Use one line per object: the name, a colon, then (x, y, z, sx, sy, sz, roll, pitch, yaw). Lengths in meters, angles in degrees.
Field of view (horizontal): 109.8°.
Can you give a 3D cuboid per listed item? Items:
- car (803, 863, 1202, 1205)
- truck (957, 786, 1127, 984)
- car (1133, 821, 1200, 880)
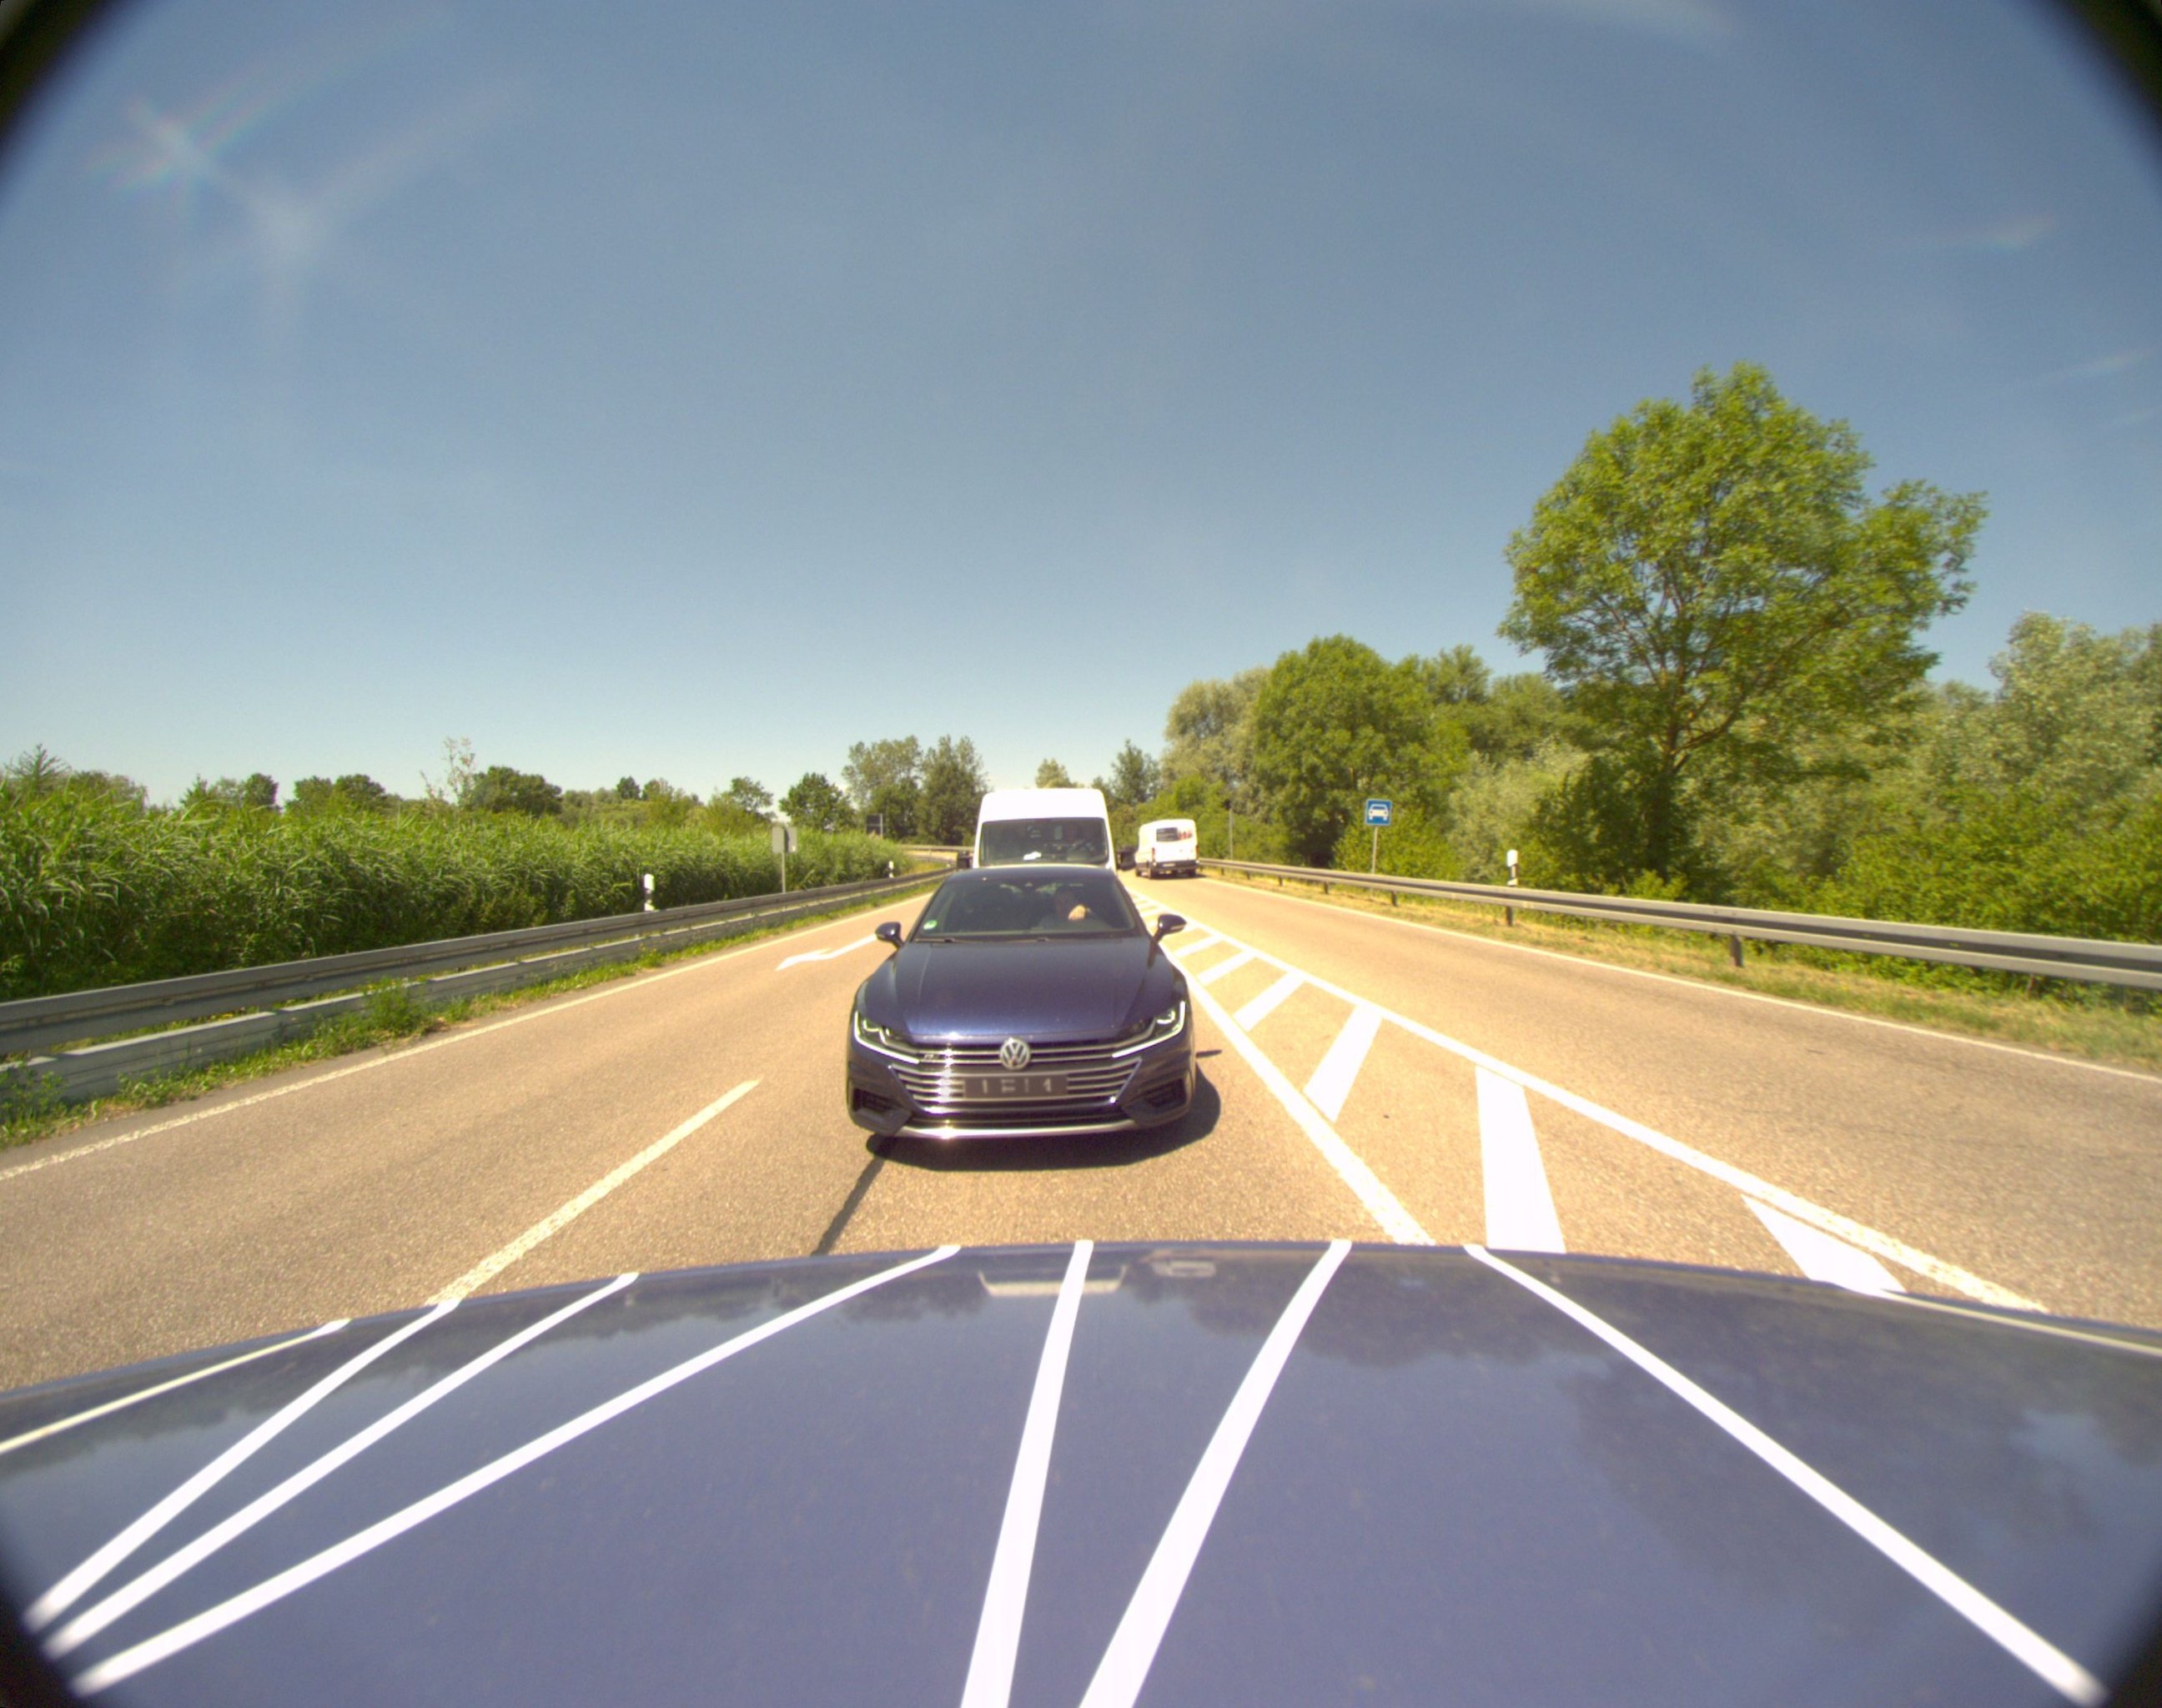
car: (-0.336, 0.866, 5.744, 1.819, 1.454, 4.415, -2, 1, 1)
truck: (-0.655, 0.345, 12.278, 2.011, 2.365, 5.909, -2, 1, -4)
car: (3.754, -0.206, 34.448, 1.999, 2.403, 5.586, -1, 2, -4)
